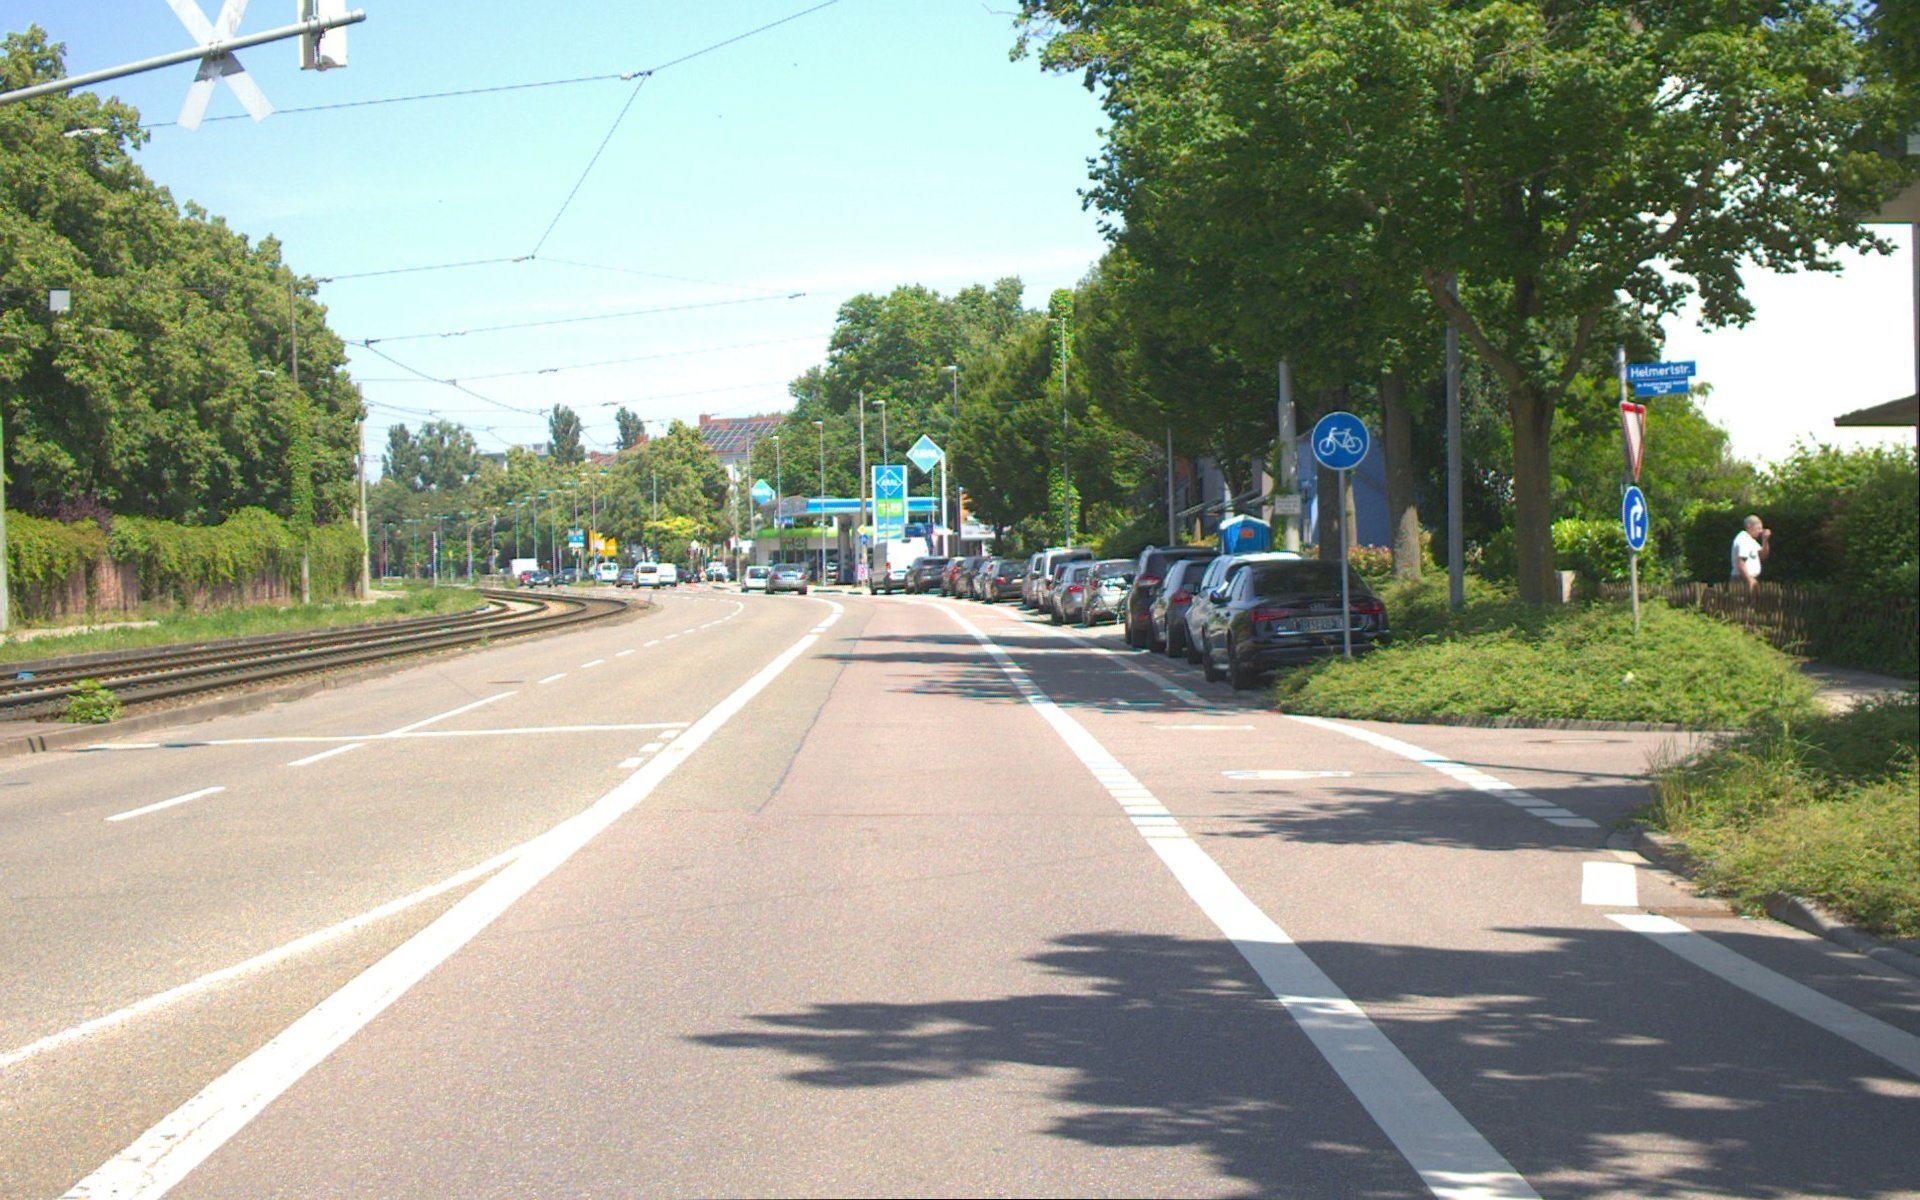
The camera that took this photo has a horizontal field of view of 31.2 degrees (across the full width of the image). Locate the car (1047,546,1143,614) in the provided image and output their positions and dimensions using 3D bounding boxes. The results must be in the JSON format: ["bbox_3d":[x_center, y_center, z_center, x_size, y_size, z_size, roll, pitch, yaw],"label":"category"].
[{"bbox_3d":[3.328,-0.521,85.606,1.840,1.524,4.967,-3,1,-3],"label":"car"}]

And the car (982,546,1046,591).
[{"bbox_3d":[1.914,-1.157,123.613,1.706,1.487,5.039,-3,1,-5],"label":"car"}]

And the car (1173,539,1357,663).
[{"bbox_3d":[4.159,-0.027,47.480,1.840,1.524,4.206,-3,1,-3],"label":"car"}]

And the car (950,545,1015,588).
[{"bbox_3d":[0.865,-1.320,134.786,1.706,1.557,4.325,-3,1,-10],"label":"car"}]

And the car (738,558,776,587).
[{"bbox_3d":[-11.891,-1.616,201.293,1.755,1.625,4.325,-3,1,-8],"label":"car"}]

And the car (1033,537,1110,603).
[{"bbox_3d":[3.236,-0.889,100.582,1.840,1.788,4.354,-3,1,-2],"label":"car"}]

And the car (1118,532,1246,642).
[{"bbox_3d":[3.751,-0.255,58.680,1.840,1.700,4.626,-3,1,1],"label":"car"}]

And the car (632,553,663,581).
[{"bbox_3d":[-22.312,-2.384,245.720,1.755,1.868,4.325,-3,1,-10],"label":"car"}]

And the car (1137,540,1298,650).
[{"bbox_3d":[3.921,-0.113,53.045,1.840,1.524,4.354,-3,1,-3],"label":"car"}]

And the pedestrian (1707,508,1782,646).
[{"bbox_3d":[9.888,-0.294,43.346,0.747,1.716,0.633,0,1,-7],"label":"pedestrian"}]

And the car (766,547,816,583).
[{"bbox_3d":[-8.046,-1.676,163.424,1.755,1.625,4.325,-3,1,-10],"label":"car"}]

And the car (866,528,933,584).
[{"bbox_3d":[-2.841,-2.040,160.762,2.000,2.448,6.111,-3,1,-11],"label":"car"}]

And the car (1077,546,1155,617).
[{"bbox_3d":[3.632,-0.455,80.600,1.519,1.524,3.817,-3,1,-1],"label":"car"}]

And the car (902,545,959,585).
[{"bbox_3d":[-1.301,-1.554,150.661,1.755,1.625,4.325,-3,1,-10],"label":"car"}]

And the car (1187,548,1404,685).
[{"bbox_3d":[3.943,0.150,41.214,1.840,1.431,4.825,-3,1,-3],"label":"car"}]

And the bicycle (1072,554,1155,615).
[{"bbox_3d":[3.509,-0.356,78.561,1.774,1.224,0.683,-6,0,4],"label":"bicycle"}]

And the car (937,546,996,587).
[{"bbox_3d":[0.249,-1.396,140.697,1.706,1.557,4.325,-3,1,-8],"label":"car"}]
